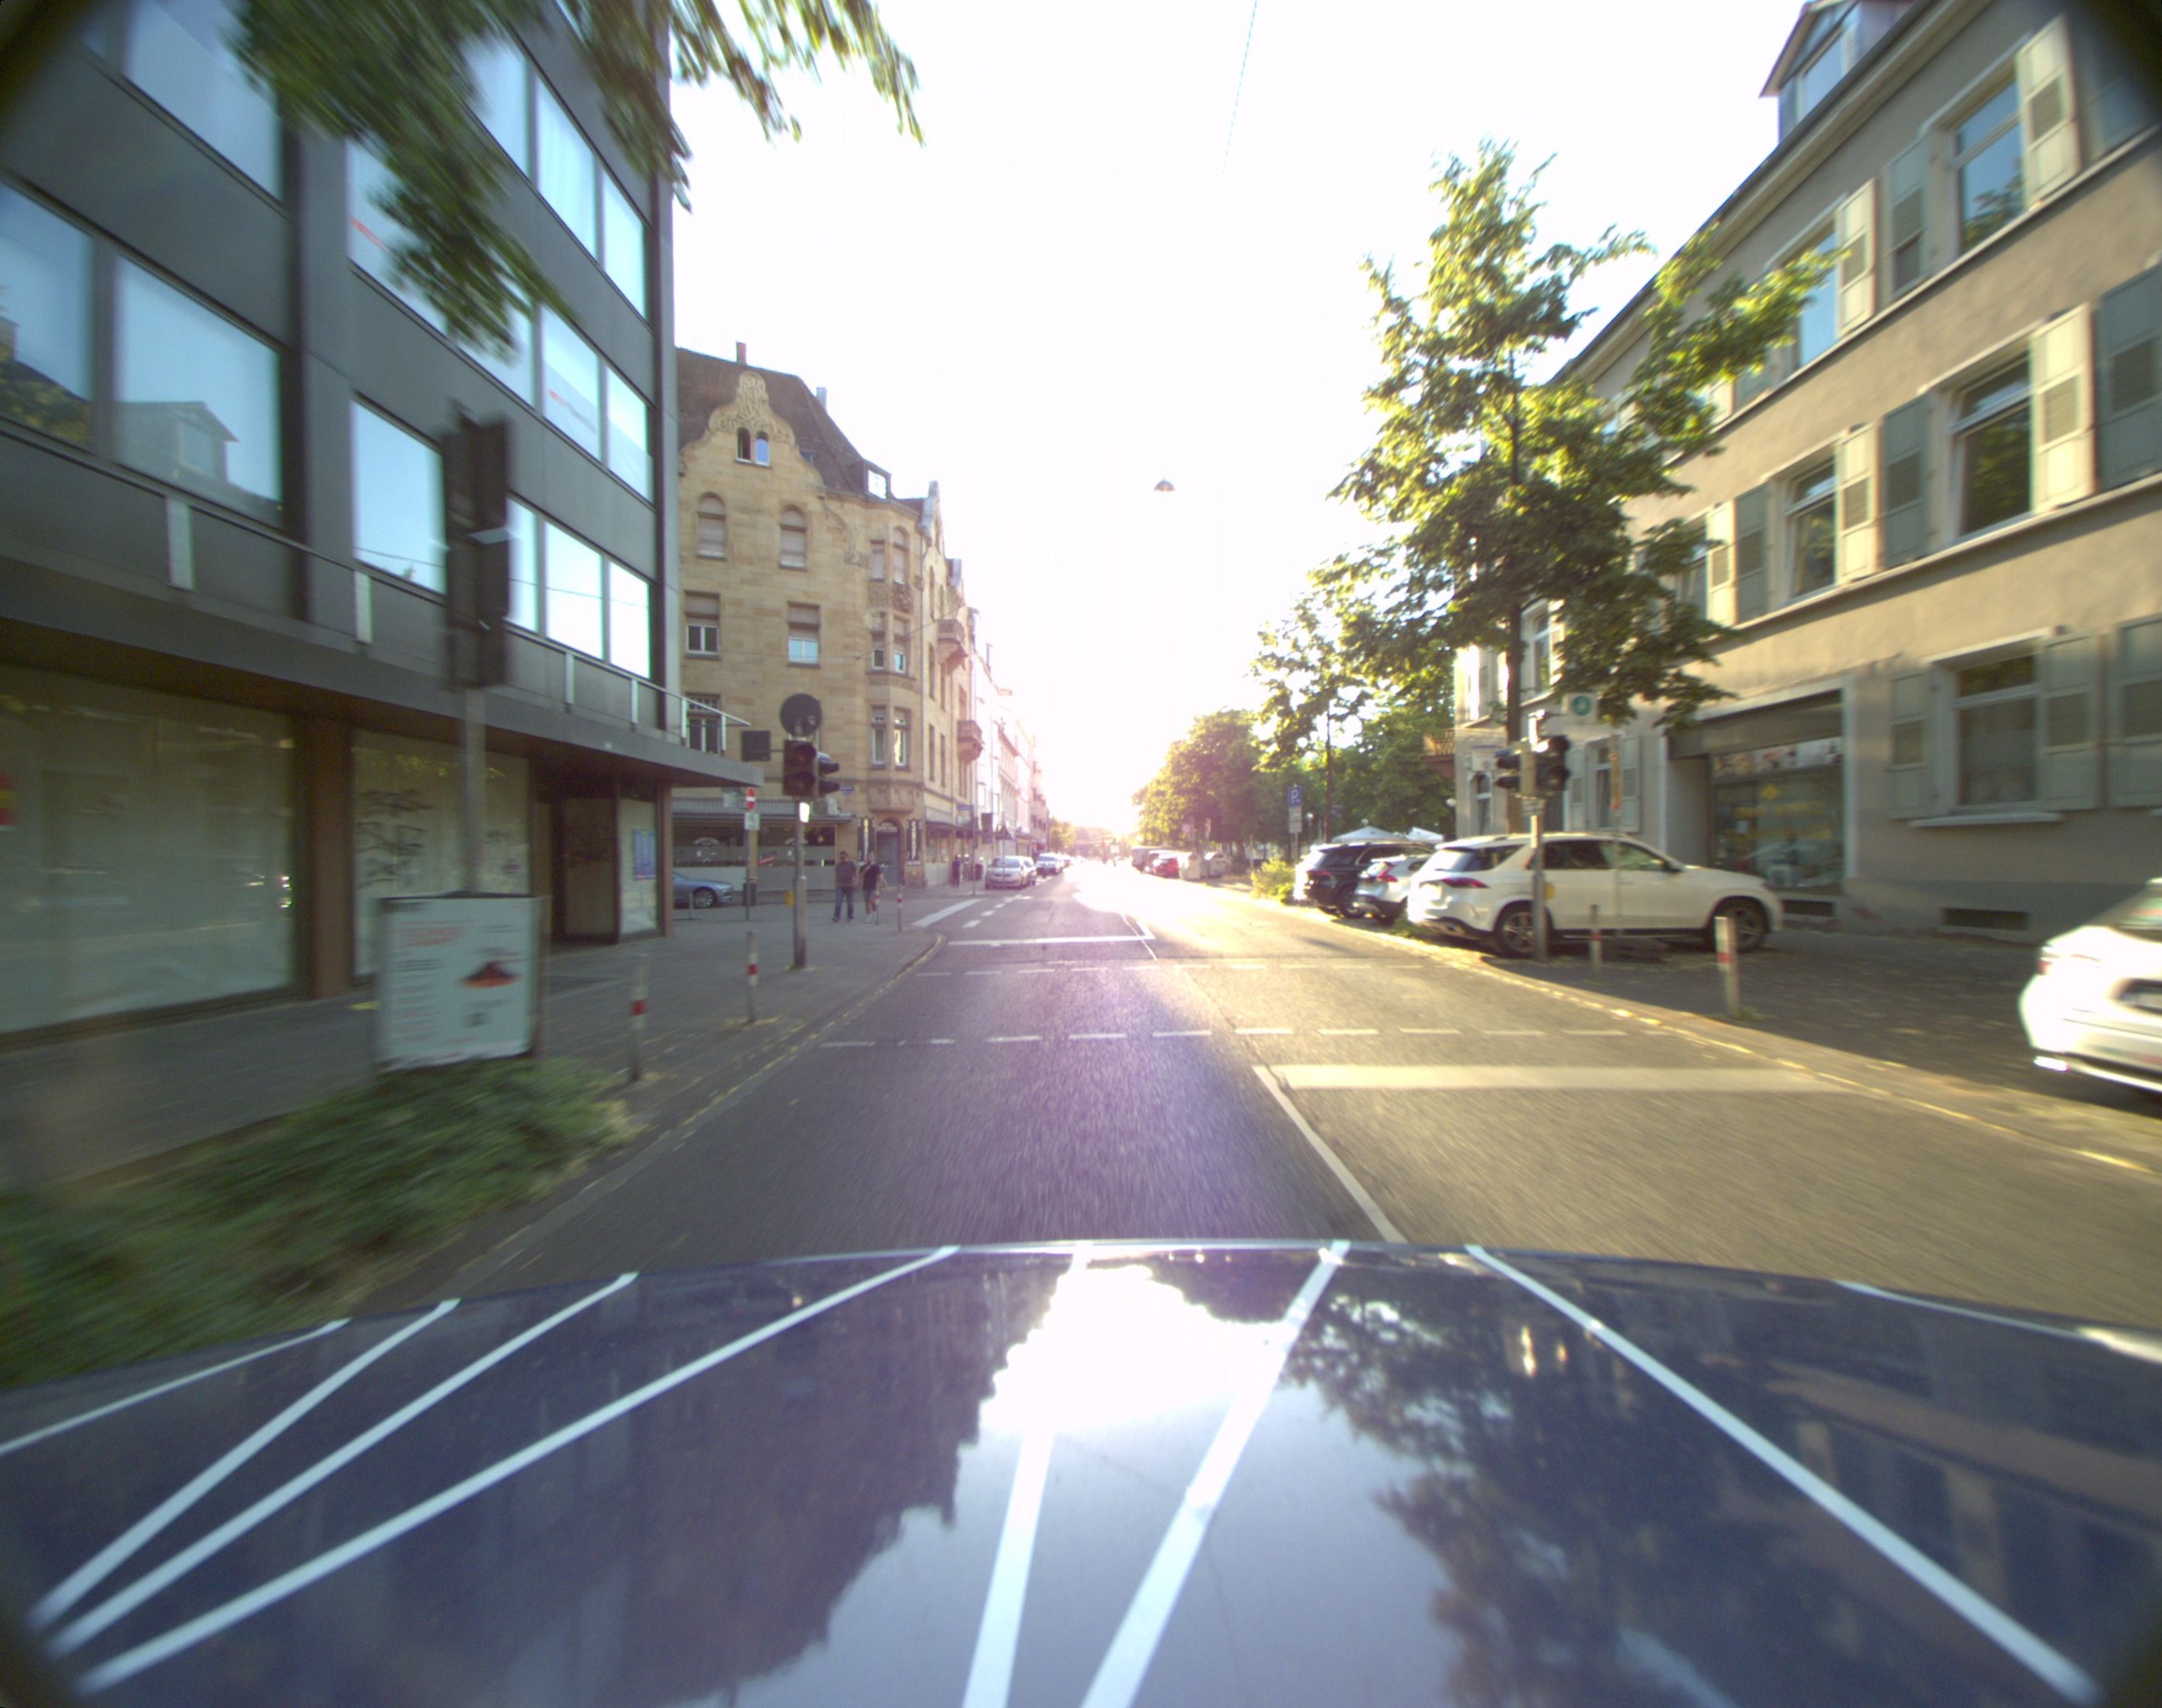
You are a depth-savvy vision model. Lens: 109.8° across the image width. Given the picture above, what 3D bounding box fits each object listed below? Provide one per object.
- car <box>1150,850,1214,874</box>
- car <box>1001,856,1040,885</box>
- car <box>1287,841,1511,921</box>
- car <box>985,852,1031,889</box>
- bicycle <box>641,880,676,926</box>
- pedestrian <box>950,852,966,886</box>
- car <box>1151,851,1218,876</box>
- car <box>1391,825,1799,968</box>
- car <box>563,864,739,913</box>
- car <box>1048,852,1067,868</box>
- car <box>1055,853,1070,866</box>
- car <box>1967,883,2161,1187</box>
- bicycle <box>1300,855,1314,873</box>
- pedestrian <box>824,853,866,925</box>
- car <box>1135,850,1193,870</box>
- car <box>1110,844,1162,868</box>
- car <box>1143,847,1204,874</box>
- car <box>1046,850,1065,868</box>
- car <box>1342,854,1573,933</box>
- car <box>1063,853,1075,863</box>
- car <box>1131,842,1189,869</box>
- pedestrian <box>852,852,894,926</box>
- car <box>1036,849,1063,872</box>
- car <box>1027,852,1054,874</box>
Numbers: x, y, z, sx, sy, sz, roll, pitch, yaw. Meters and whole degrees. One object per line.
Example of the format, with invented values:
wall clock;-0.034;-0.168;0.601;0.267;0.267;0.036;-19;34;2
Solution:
car;7.377;0.564;55.123;4.579;1.623;1.896;-1;0;-37
car;-3.281;0.853;41.997;1.580;1.451;3.587;3;0;4
car;7.511;0.607;18.291;4.567;1.772;1.946;-1;1;0
car;-3.517;0.768;37.174;1.758;1.638;3.793;3;0;1
bicycle;-10.183;1.157;18.347;0.583;1.027;1.852;-1;-2;-25
pedestrian;-5.973;0.733;36.952;0.599;1.653;0.603;1;1;6
car;7.073;0.623;51.641;4.579;1.548;1.809;-1;0;-37
car;7.489;0.595;11.499;4.718;1.800;2.053;-2;0;2
car;-13.842;1.082;24.843;4.772;1.410;1.976;-1;0;-23
car;-2.489;0.607;80.481;1.758;1.638;3.793;3;0;1
car;-2.470;0.717;100.813;1.804;1.570;4.403;1;0;1
car;7.431;0.835;3.558;4.393;1.414;1.822;-2;0;0
bicycle;13.589;0.617;45.649;0.581;1.027;1.858;-2;-2;22
pedestrian;-5.850;0.846;18.849;0.756;1.748;0.812;-1;1;0
car;7.161;0.520;65.420;4.577;1.573;2.131;-1;0;-28
car;5.549;0.177;76.320;4.782;2.344;2.153;-1;0;-27
car;7.114;0.473;58.396;4.579;1.922;1.896;-1;0;-37
car;-2.875;0.534;86.924;1.804;1.909;4.403;1;0;1
car;7.599;0.773;15.623;3.825;1.453;1.821;-1;0;1
car;-1.937;0.642;126.761;1.804;1.570;4.403;1;0;1
car;7.122;0.147;68.592;4.782;2.344;2.153;-1;0;-27
pedestrian;-5.041;0.840;18.473;0.756;1.748;0.812;-1;1;0
car;-2.773;0.579;68.041;1.867;1.900;4.256;3;0;4
car;-3.165;0.687;59.739;1.758;1.638;3.793;3;0;1
